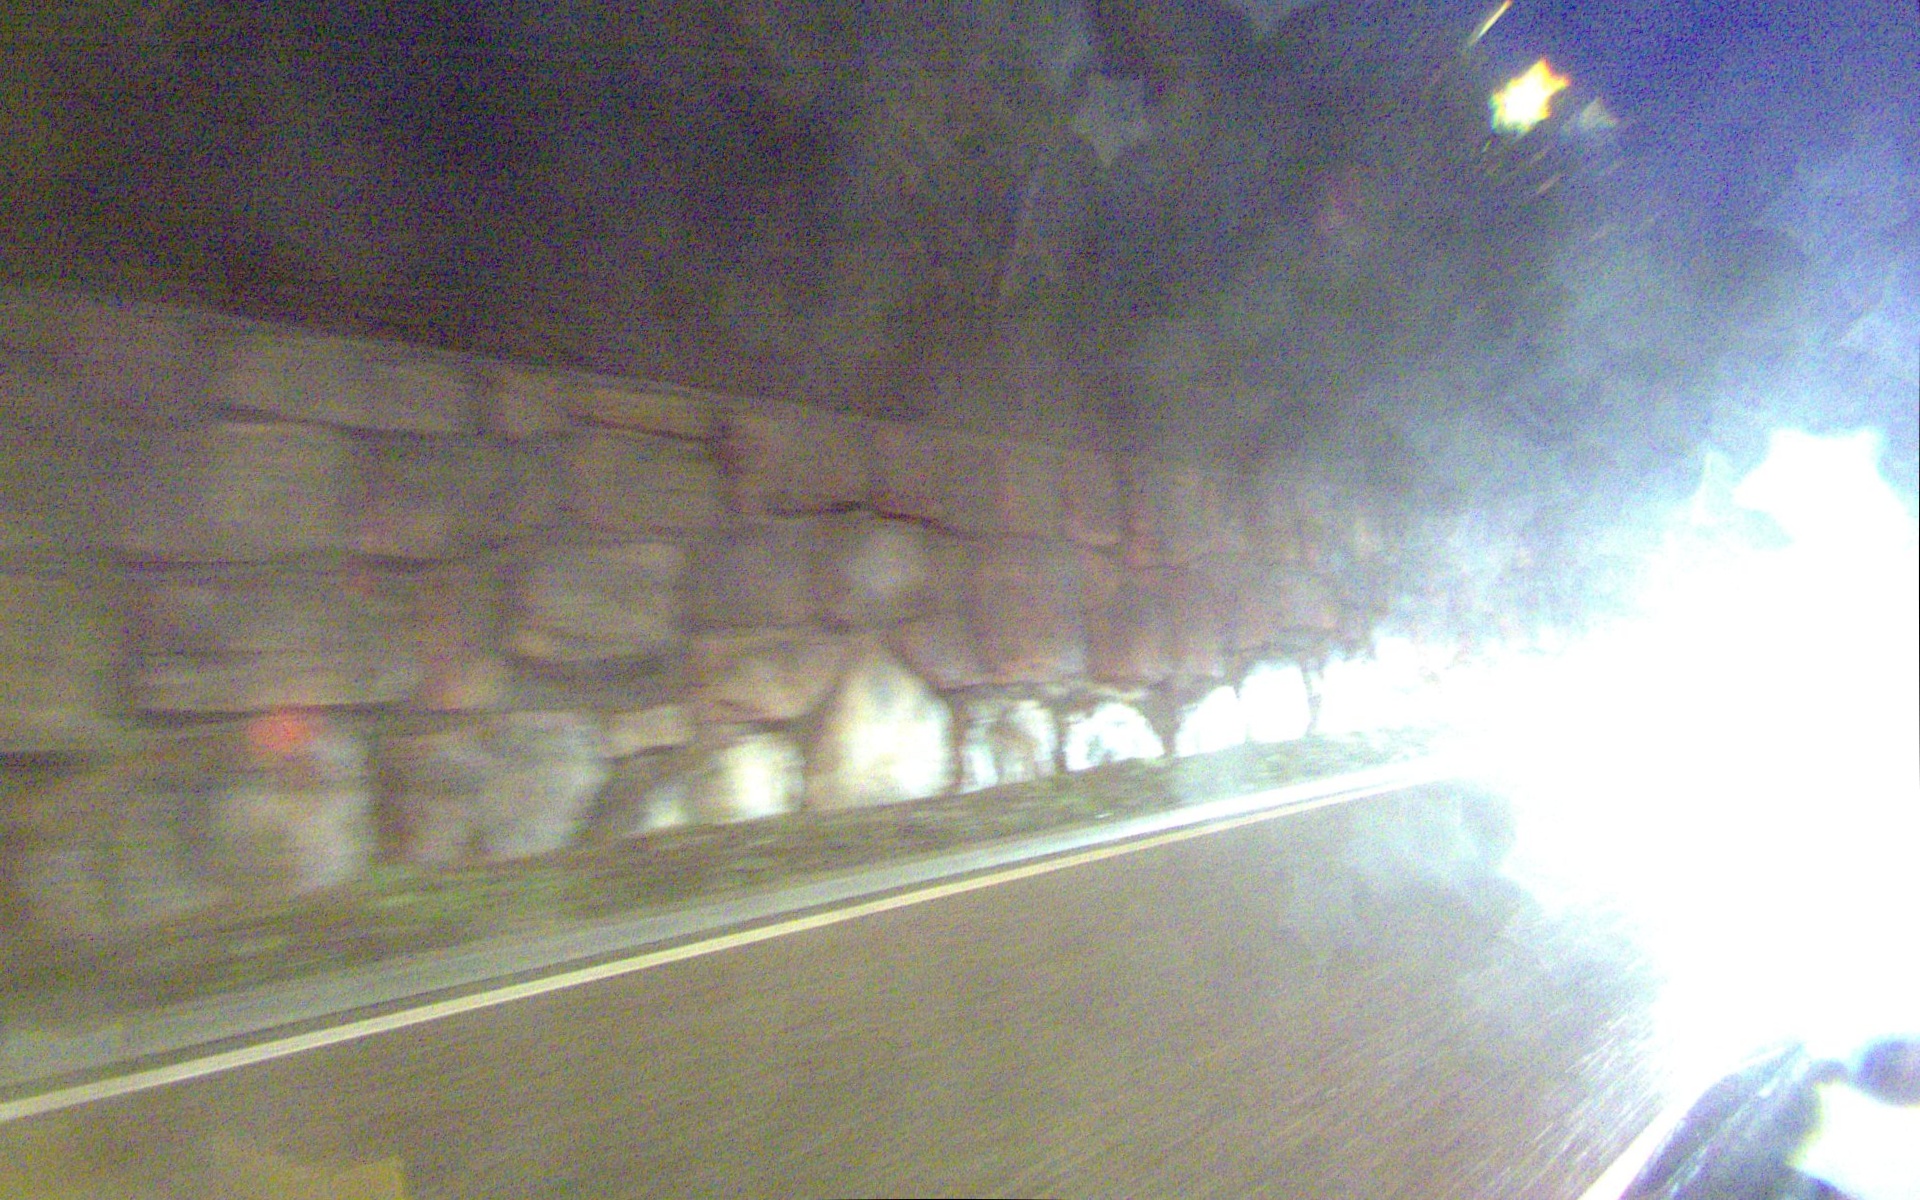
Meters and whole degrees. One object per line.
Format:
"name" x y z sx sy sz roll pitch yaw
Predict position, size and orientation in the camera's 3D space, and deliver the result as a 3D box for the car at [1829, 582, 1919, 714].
"car" 14.097 0.625 14.530 4.143 1.715 1.790 0 0 -40
